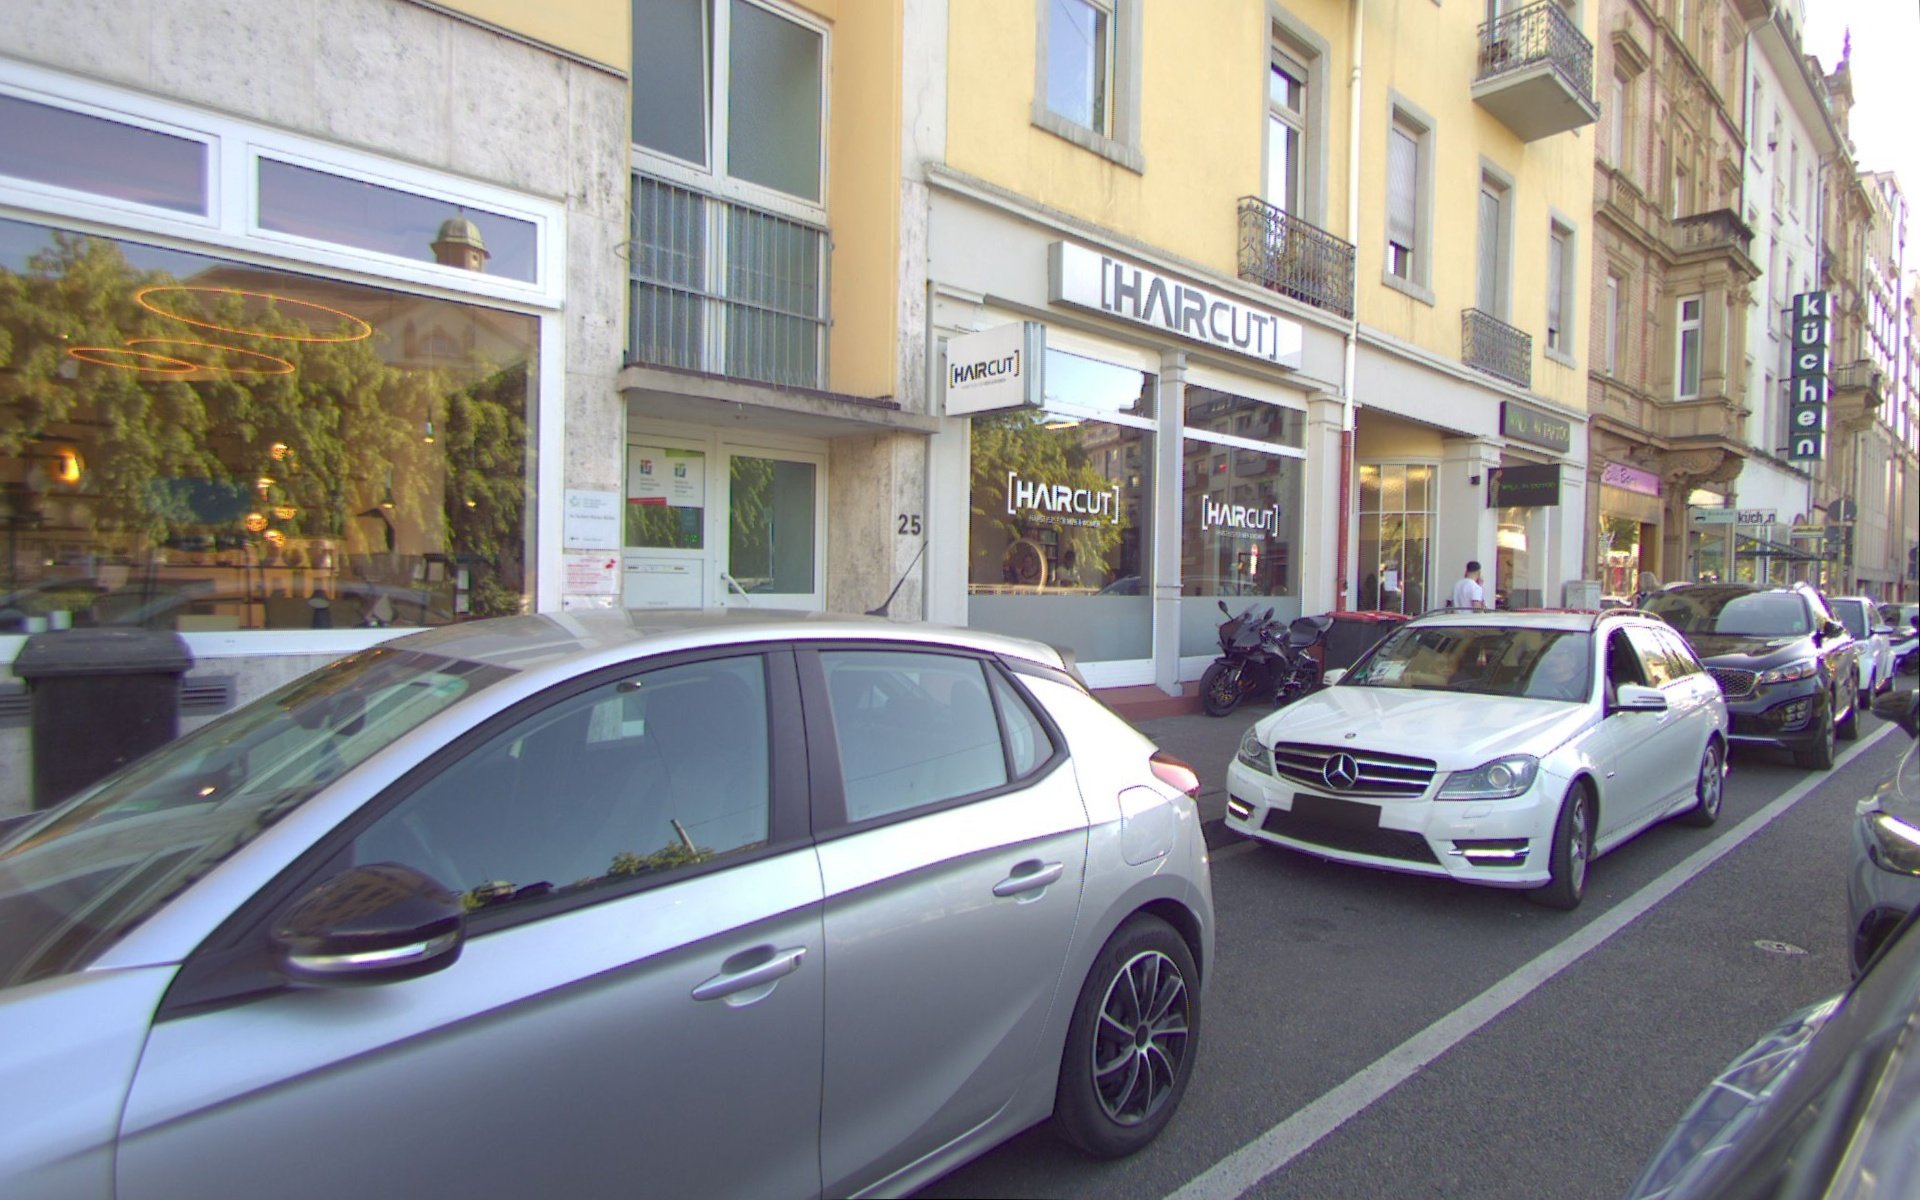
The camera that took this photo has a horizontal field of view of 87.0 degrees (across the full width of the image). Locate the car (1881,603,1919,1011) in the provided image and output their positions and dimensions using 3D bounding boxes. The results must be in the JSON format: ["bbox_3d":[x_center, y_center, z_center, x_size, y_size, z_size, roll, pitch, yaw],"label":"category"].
[{"bbox_3d":[5.262,0.704,4.230,3.933,1.376,1.799,-1,1,-43],"label":"car"}]

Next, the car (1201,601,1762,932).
[{"bbox_3d":[3.527,0.719,6.438,4.302,1.376,1.703,-1,1,-41],"label":"car"}]

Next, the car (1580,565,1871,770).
[{"bbox_3d":[7.926,0.523,10.317,4.176,1.659,1.799,-1,1,-45],"label":"car"}]

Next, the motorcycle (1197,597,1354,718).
[{"bbox_3d":[3.281,0.546,10.432,1.920,1.091,0.567,-1,4,-41],"label":"motorcycle"}]

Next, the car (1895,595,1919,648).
[{"bbox_3d":[26.612,0.548,27.256,3.773,1.357,1.800,-1,1,-42],"label":"car"}]

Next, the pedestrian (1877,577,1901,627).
[{"bbox_3d":[35.201,0.054,38.348,0.653,1.874,0.574,0,0,-40],"label":"pedestrian"}]

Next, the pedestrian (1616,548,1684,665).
[{"bbox_3d":[10.116,0.085,14.854,0.711,1.675,0.601,0,0,23],"label":"pedestrian"}]

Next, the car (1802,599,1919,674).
[{"bbox_3d":[18.020,0.648,19.835,4.016,1.282,1.800,-1,1,-42],"label":"car"}]

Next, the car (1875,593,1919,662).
[{"bbox_3d":[22.251,0.581,23.090,4.016,1.450,1.657,-1,0,-42],"label":"car"}]

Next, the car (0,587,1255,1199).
[{"bbox_3d":[-0.990,0.696,2.291,3.597,1.445,1.549,-1,1,-42],"label":"car"}]

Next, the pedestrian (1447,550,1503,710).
[{"bbox_3d":[6.618,0.369,13.028,0.367,2.008,0.693,1,1,5],"label":"pedestrian"}]

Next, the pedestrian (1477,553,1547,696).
[{"bbox_3d":[7.475,0.315,13.718,0.565,1.874,0.664,0,0,-39],"label":"pedestrian"}]

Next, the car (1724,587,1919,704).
[{"bbox_3d":[13.154,0.578,15.353,4.016,1.546,1.800,-1,0,-42],"label":"car"}]
